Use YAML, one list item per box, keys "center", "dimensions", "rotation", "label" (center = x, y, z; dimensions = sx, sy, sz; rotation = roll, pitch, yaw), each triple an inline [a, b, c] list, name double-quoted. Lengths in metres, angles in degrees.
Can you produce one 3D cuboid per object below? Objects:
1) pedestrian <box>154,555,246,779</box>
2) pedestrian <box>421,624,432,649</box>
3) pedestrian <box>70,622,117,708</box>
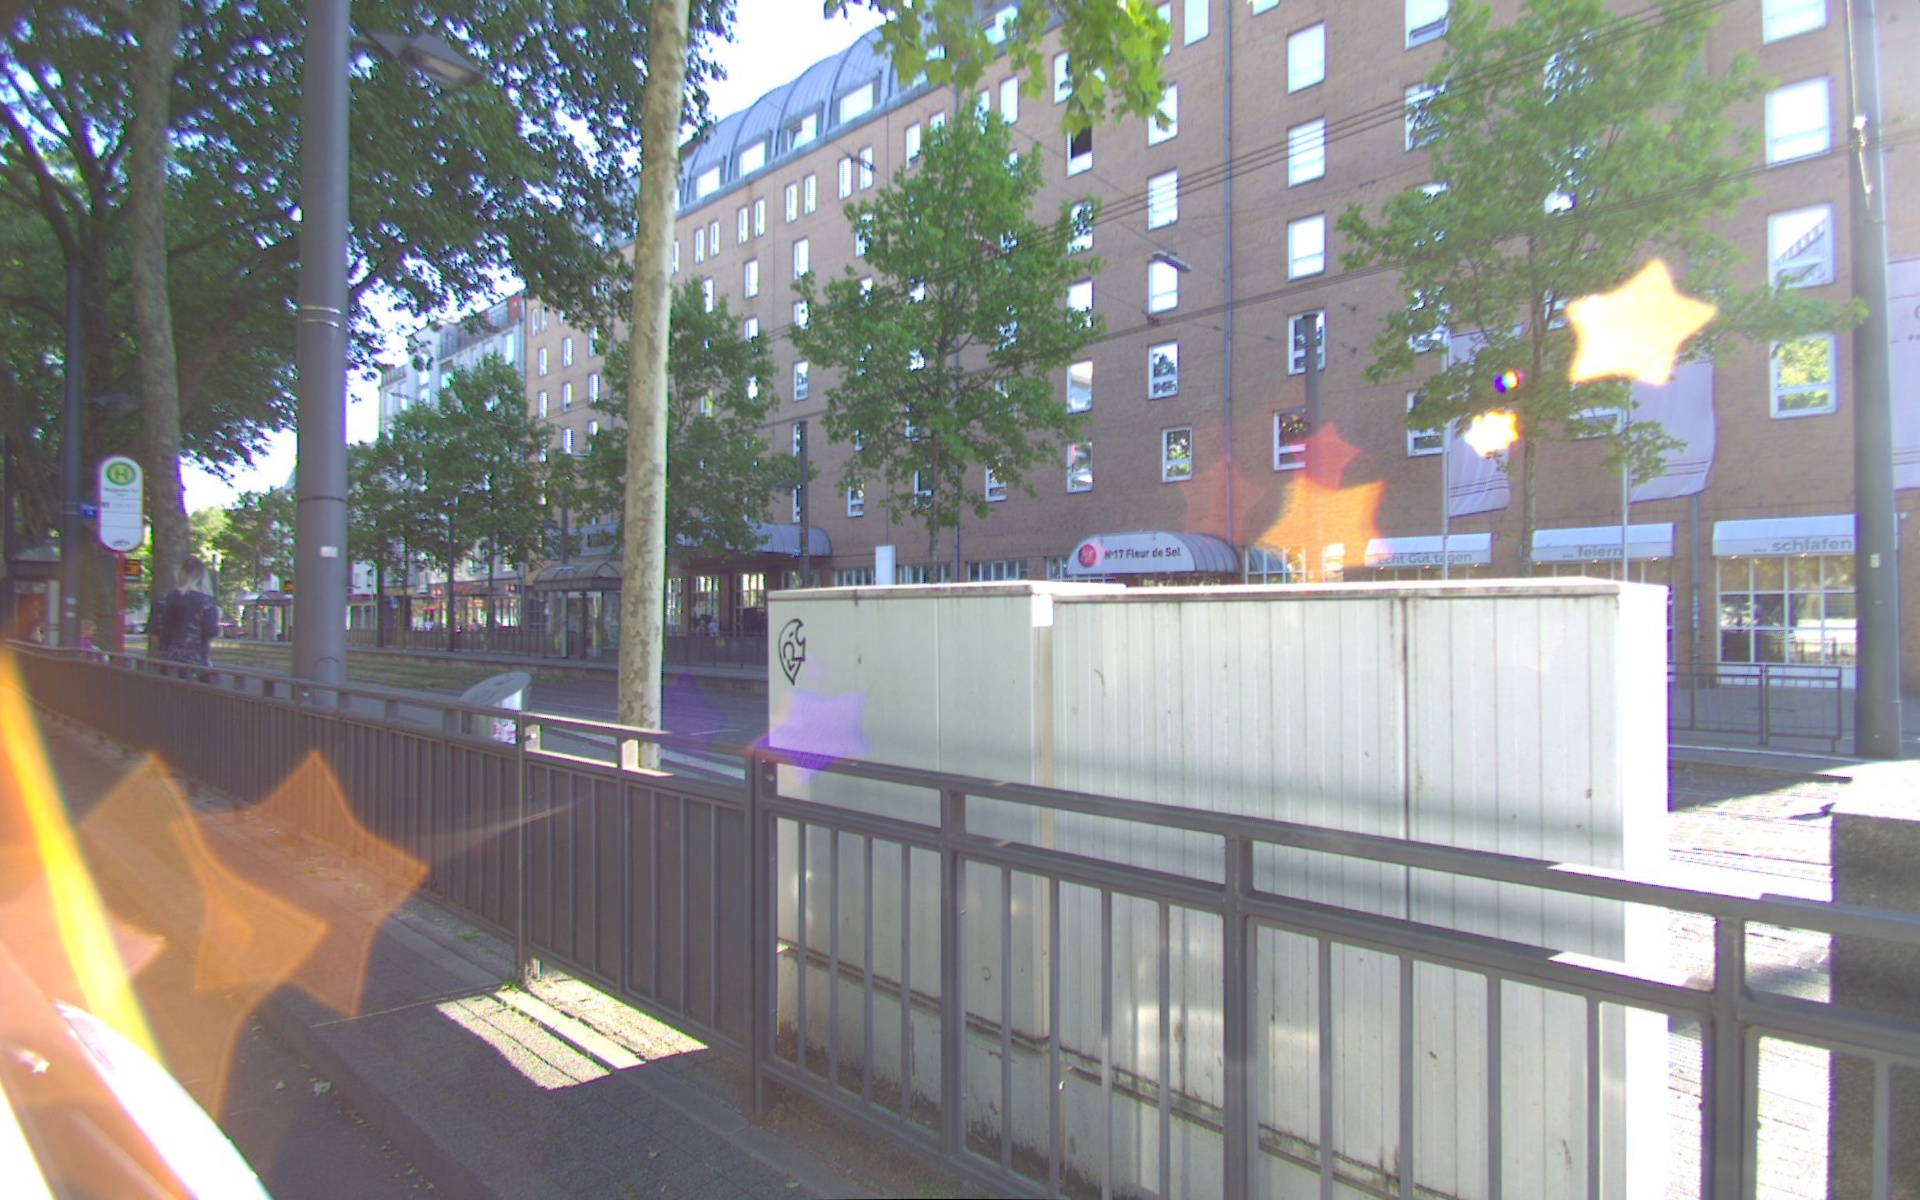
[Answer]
- center: [-6.542, 0.549, 8.711]
  dimensions: [0.524, 1.848, 0.535]
  rotation: [-1, 0, 44]
  label: "pedestrian"
- center: [-37.508, 2.561, 71.199]
  dimensions: [0.574, 1.748, 0.497]
  rotation: [-2, -2, 43]
  label: "pedestrian"
- center: [-13.952, 1.032, 16.301]
  dimensions: [0.534, 1.327, 0.525]
  rotation: [-1, 0, -37]
  label: "pedestrian"
